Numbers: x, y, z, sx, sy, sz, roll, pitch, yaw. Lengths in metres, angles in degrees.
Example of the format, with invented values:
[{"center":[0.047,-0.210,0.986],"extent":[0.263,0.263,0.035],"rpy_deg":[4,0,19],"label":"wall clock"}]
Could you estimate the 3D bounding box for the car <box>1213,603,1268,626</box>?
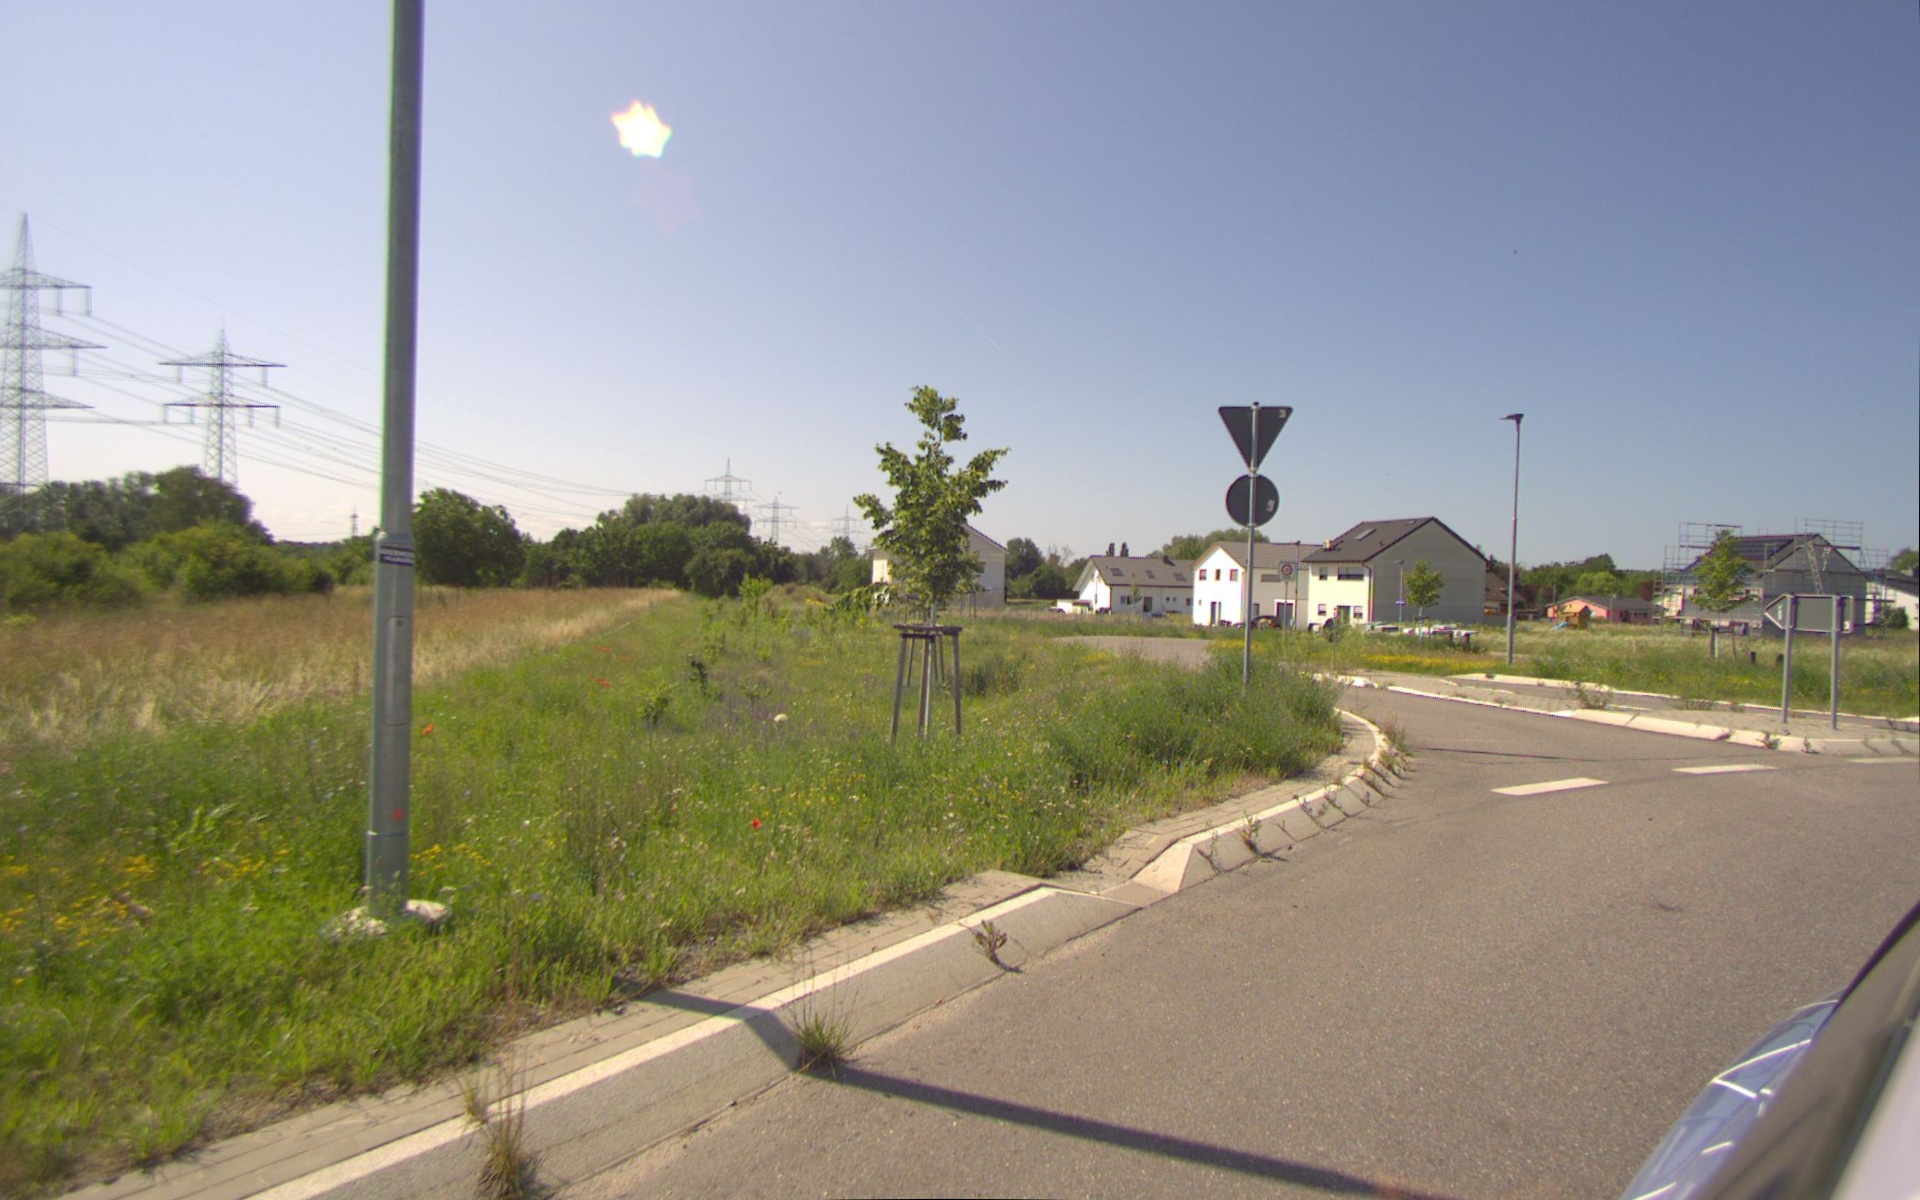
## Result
[{"center":[23.485,1.241,84.894],"extent":[3.916,1.816,2.004],"rpy_deg":[1,0,-12],"label":"car"}]
